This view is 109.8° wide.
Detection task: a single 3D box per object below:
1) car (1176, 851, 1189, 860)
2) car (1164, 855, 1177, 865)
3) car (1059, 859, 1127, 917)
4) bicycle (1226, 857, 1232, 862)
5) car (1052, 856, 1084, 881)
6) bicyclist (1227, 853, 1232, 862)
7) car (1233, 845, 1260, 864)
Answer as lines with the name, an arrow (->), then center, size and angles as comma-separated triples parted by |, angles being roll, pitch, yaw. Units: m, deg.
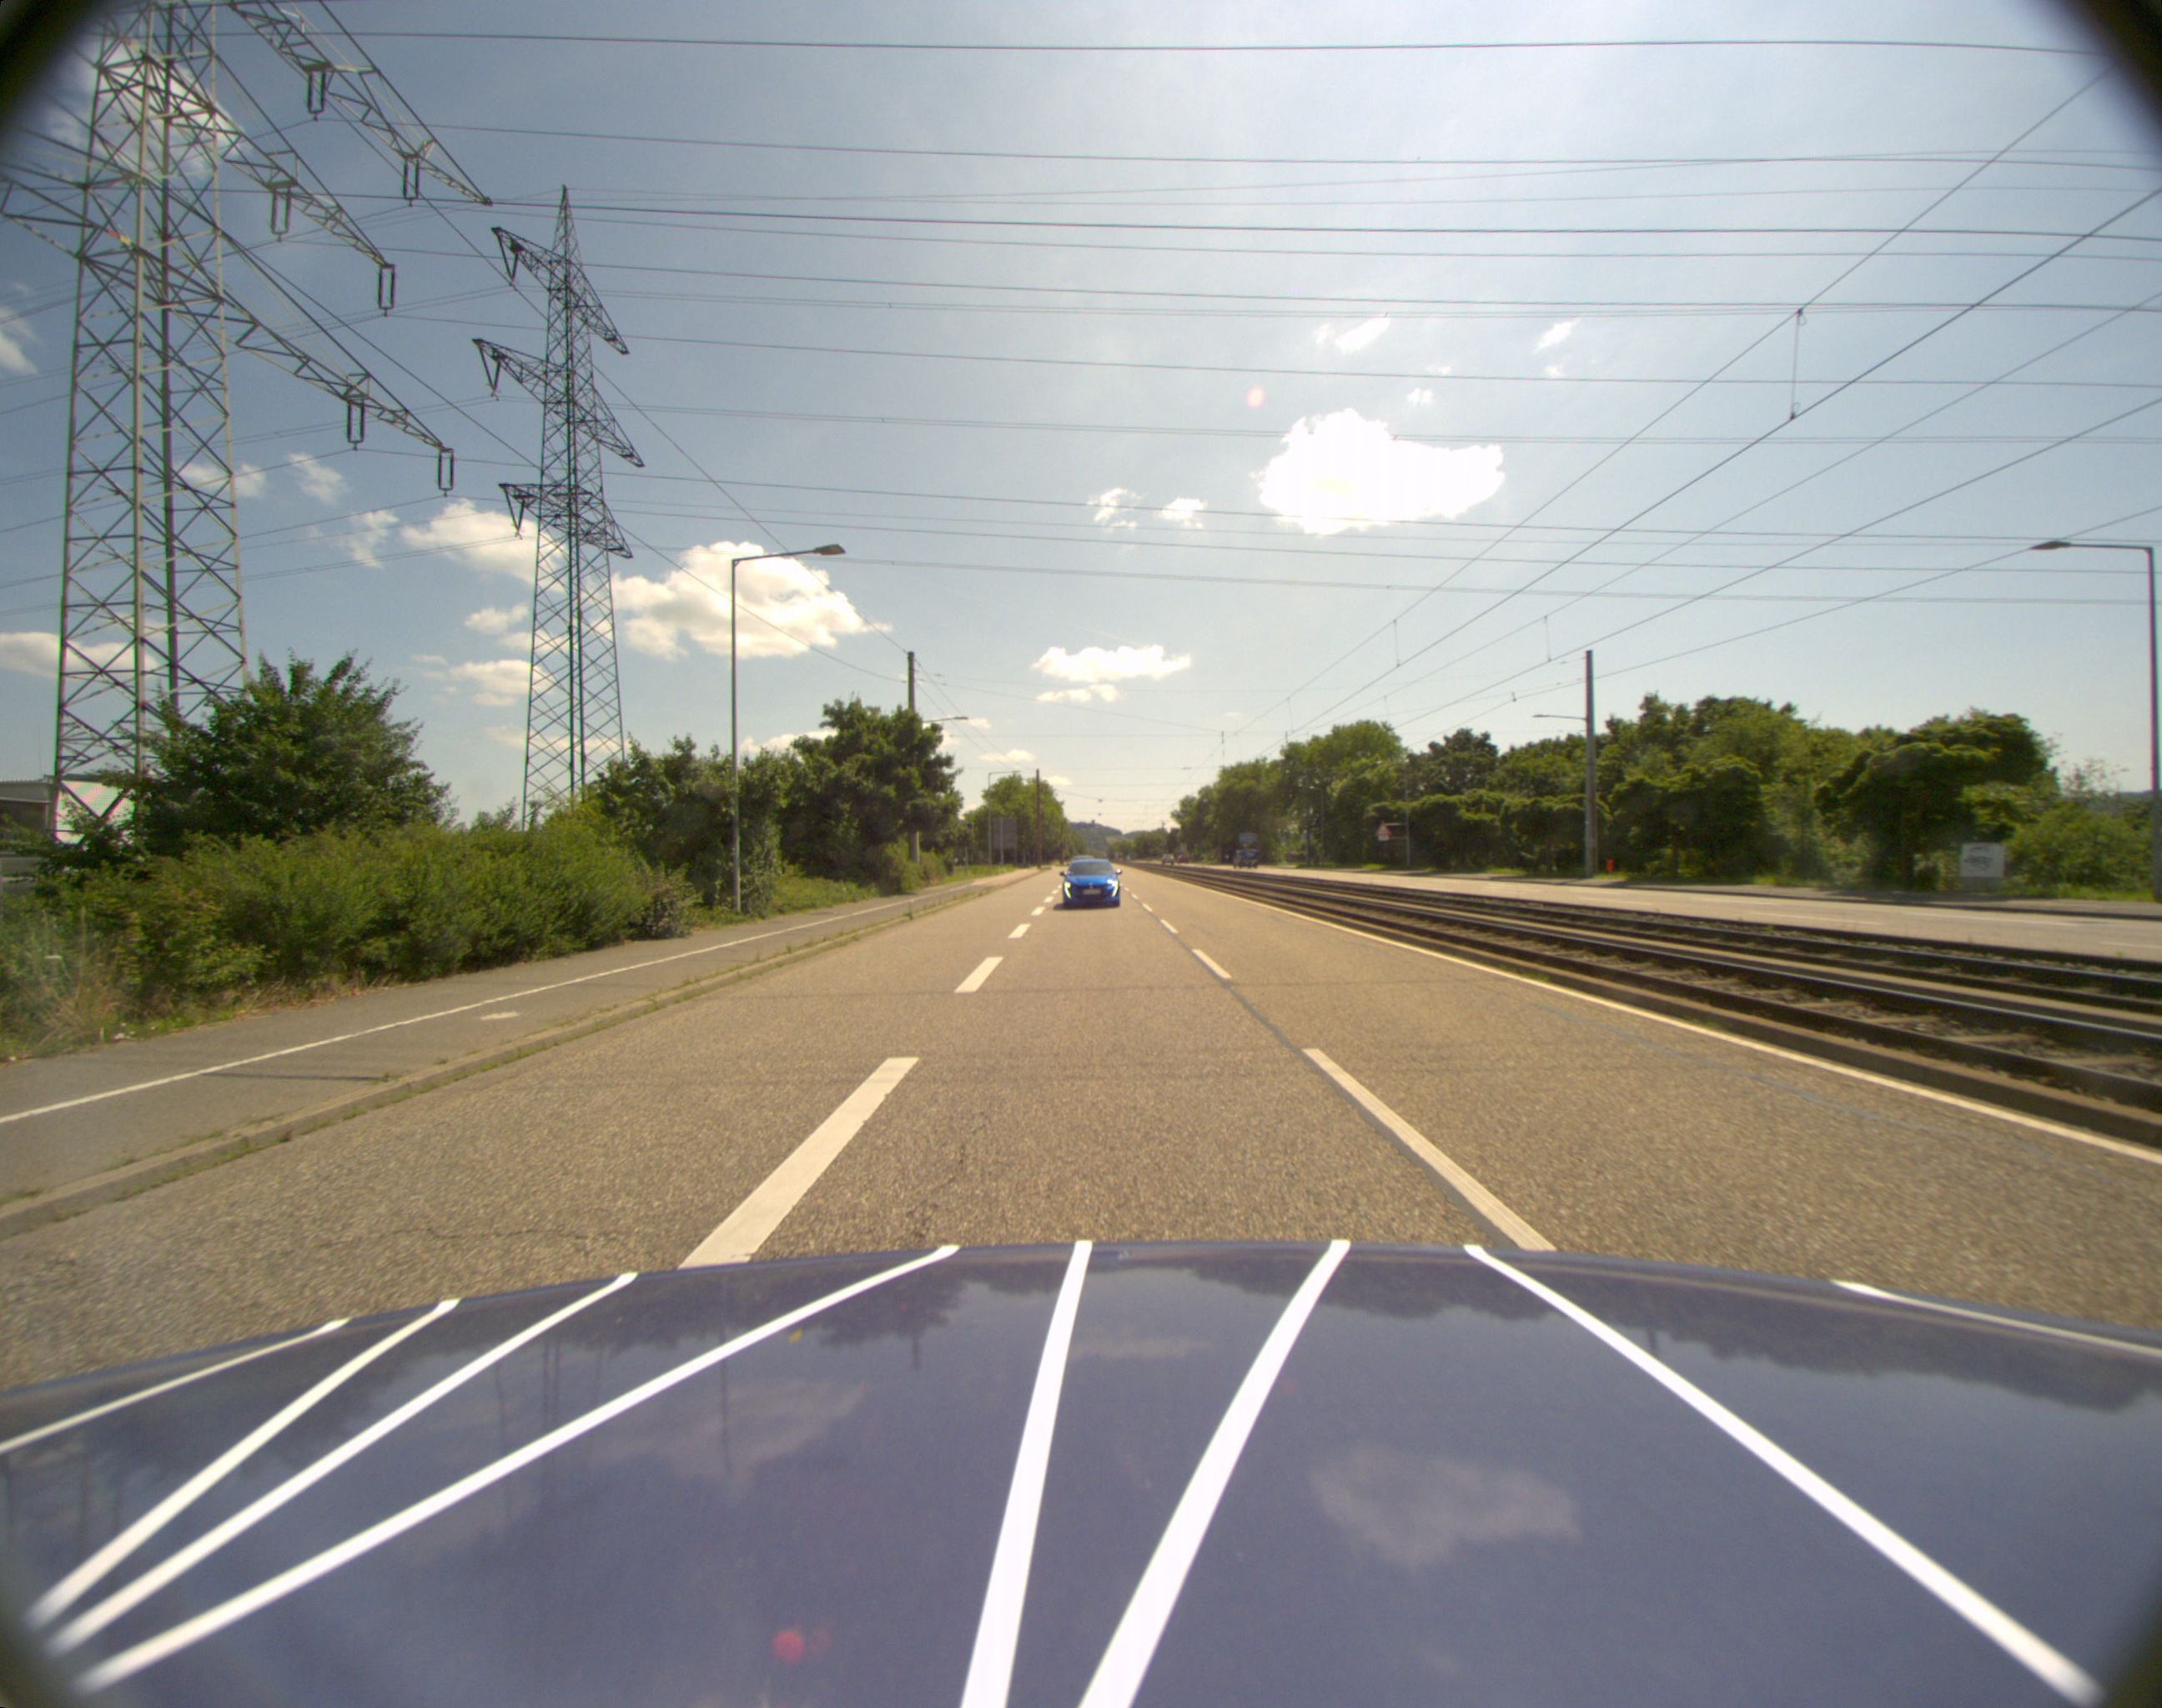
car -> 18.563, 0.237, 139.204 | 1.806, 1.616, 4.211 | 0, 0, 0
car -> 15.120, 0.946, 128.349 | 1.806, 1.616, 4.494 | 0, 0, 0
car -> 0.354, 0.924, 22.549 | 1.771, 1.463, 4.467 | -2, 0, 1
bicycle -> 26.258, 0.990, 134.782 | 0.623, 0.934, 2.091 | -1, 0, 0
car -> -0.744, 0.842, 46.224 | 1.771, 1.422, 4.000 | -2, 0, 1
bicyclist -> 26.265, 0.574, 134.777 | 0.623, 1.509, 1.160 | -1, 1, 0
car -> 17.851, 0.036, 82.168 | 1.861, 1.916, 5.008 | 0, 0, 1
